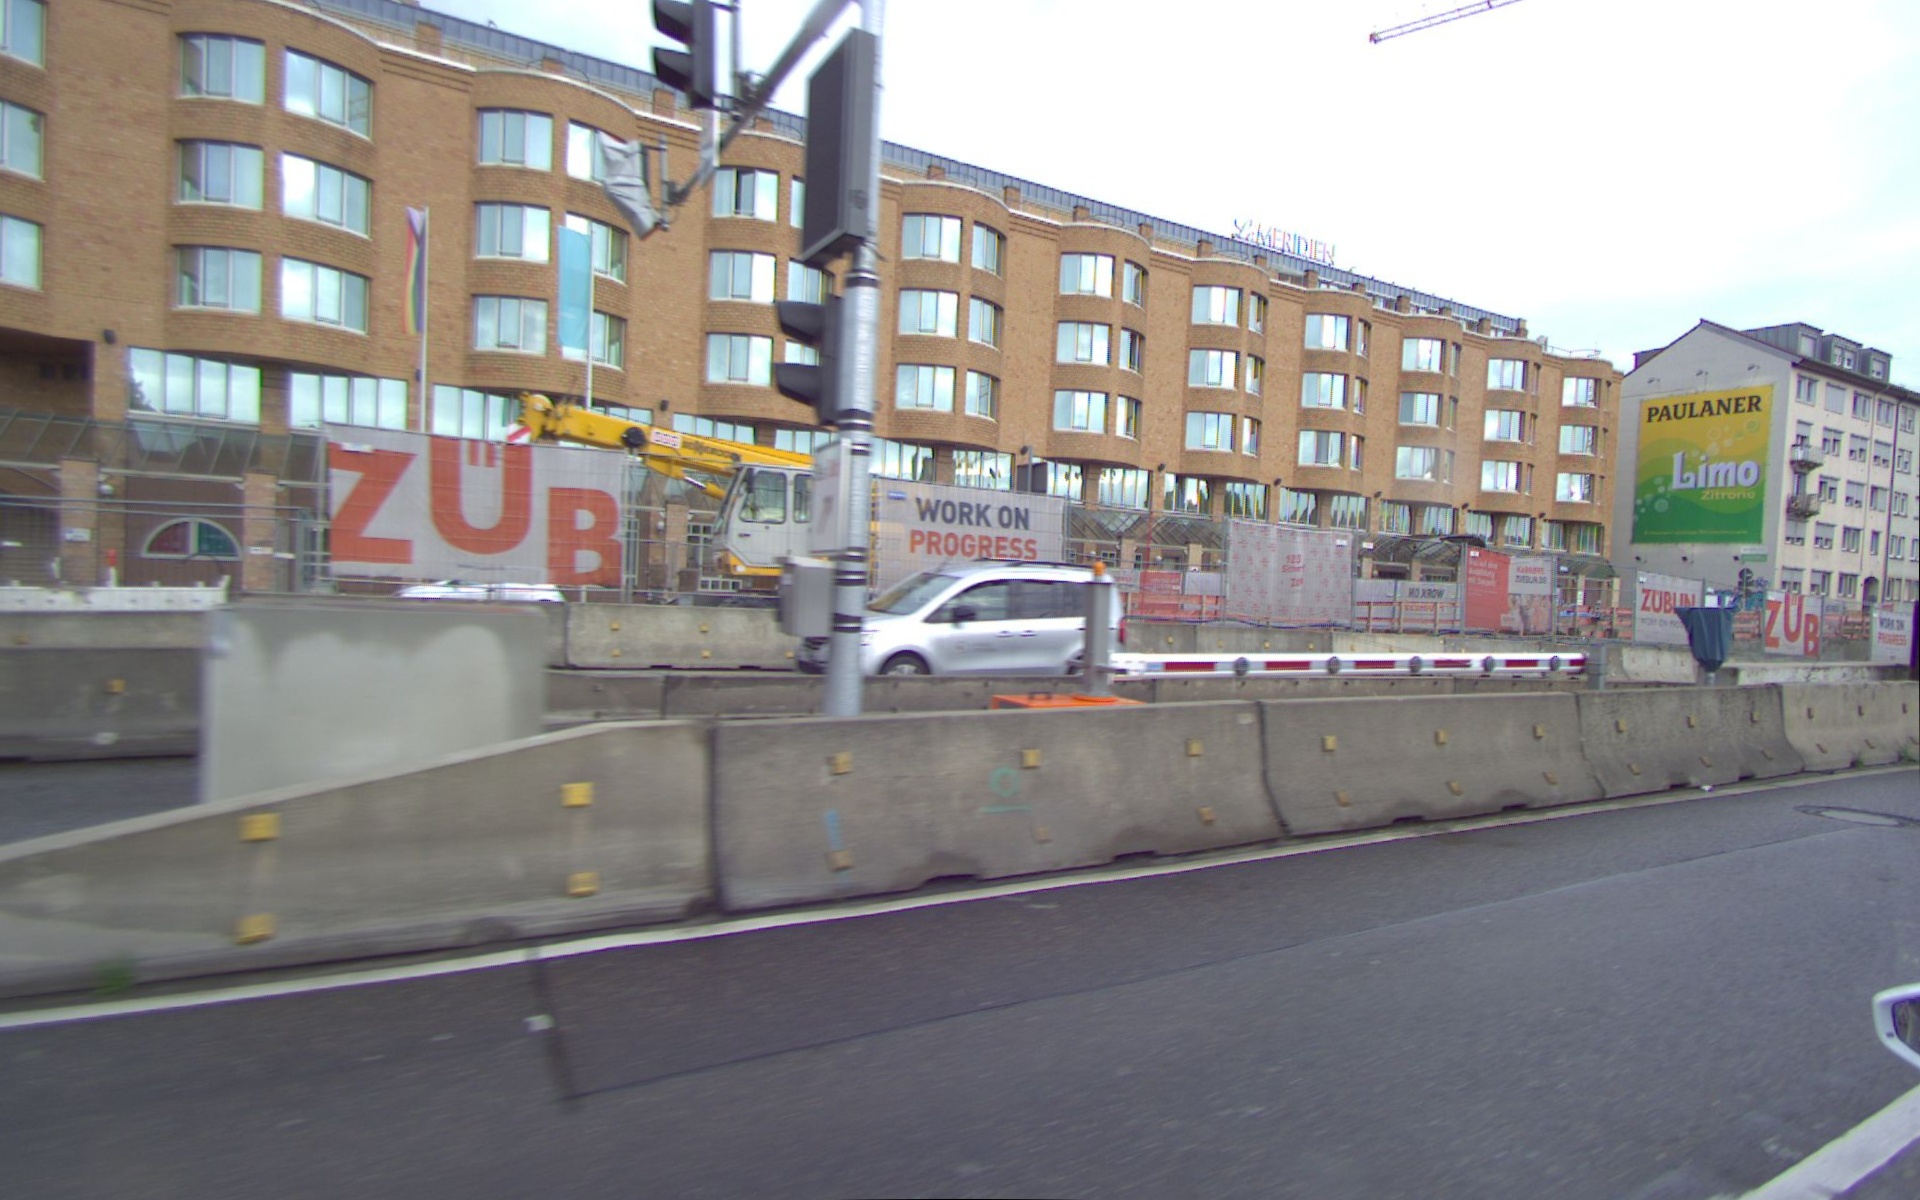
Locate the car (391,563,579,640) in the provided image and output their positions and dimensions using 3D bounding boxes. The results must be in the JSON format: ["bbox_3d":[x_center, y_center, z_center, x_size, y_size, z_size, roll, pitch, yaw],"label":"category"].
[{"bbox_3d":[-11.496,0.094,24.356,3.953,1.715,1.984,2,-2,-30],"label":"car"}]

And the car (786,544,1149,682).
[{"bbox_3d":[0.148,0.174,13.210,4.467,1.570,1.739,1,1,-28],"label":"car"}]

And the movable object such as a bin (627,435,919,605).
[{"bbox_3d":[-2.999,-1.136,16.339,4.244,2.307,2.016,2,-2,-31],"label":"movable object such as a bin"}]
